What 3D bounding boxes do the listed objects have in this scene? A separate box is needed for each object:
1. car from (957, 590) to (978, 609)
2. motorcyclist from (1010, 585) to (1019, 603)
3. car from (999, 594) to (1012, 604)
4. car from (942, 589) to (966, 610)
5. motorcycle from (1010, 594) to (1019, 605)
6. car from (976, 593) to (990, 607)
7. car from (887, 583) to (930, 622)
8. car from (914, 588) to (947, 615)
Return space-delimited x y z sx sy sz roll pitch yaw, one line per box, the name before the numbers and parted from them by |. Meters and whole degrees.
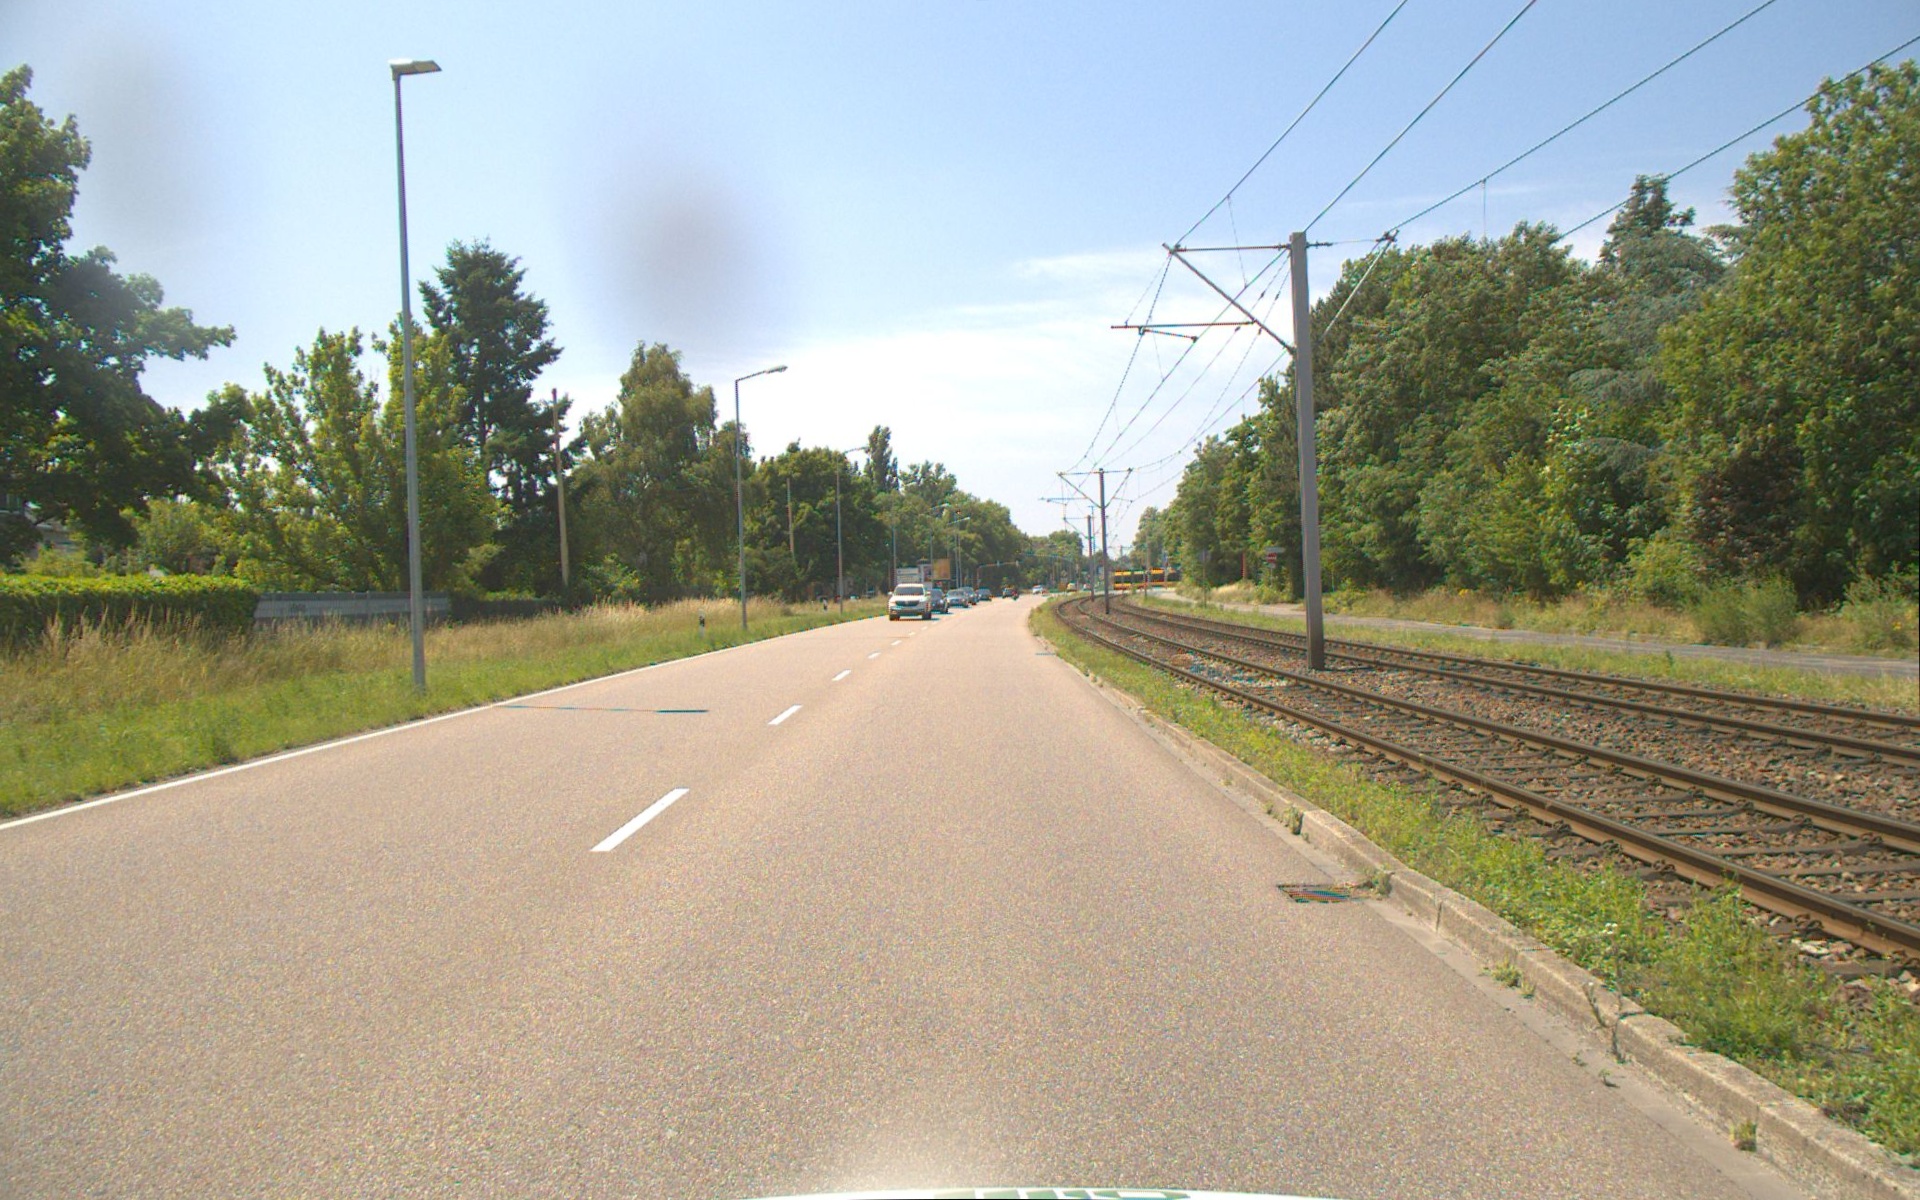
car | 0.690 -0.033 144.414 1.780 1.565 4.364 -1 0 1
motorcyclist | 6.015 -0.664 182.868 0.873 1.938 1.016 -1 0 2
car | 6.551 -0.142 239.702 1.593 1.419 4.366 -1 0 5
car | -0.438 -0.057 128.009 1.780 1.519 4.364 -1 0 1
motorcycle | 6.081 -0.030 183.124 0.950 1.137 2.733 -1 0 2
car | 2.628 0.016 188.050 1.593 1.516 4.364 -1 0 1
car | -2.525 0.114 82.065 1.895 1.827 4.712 -1 0 1
car | -1.719 0.086 99.104 1.780 1.555 4.364 -1 0 1
